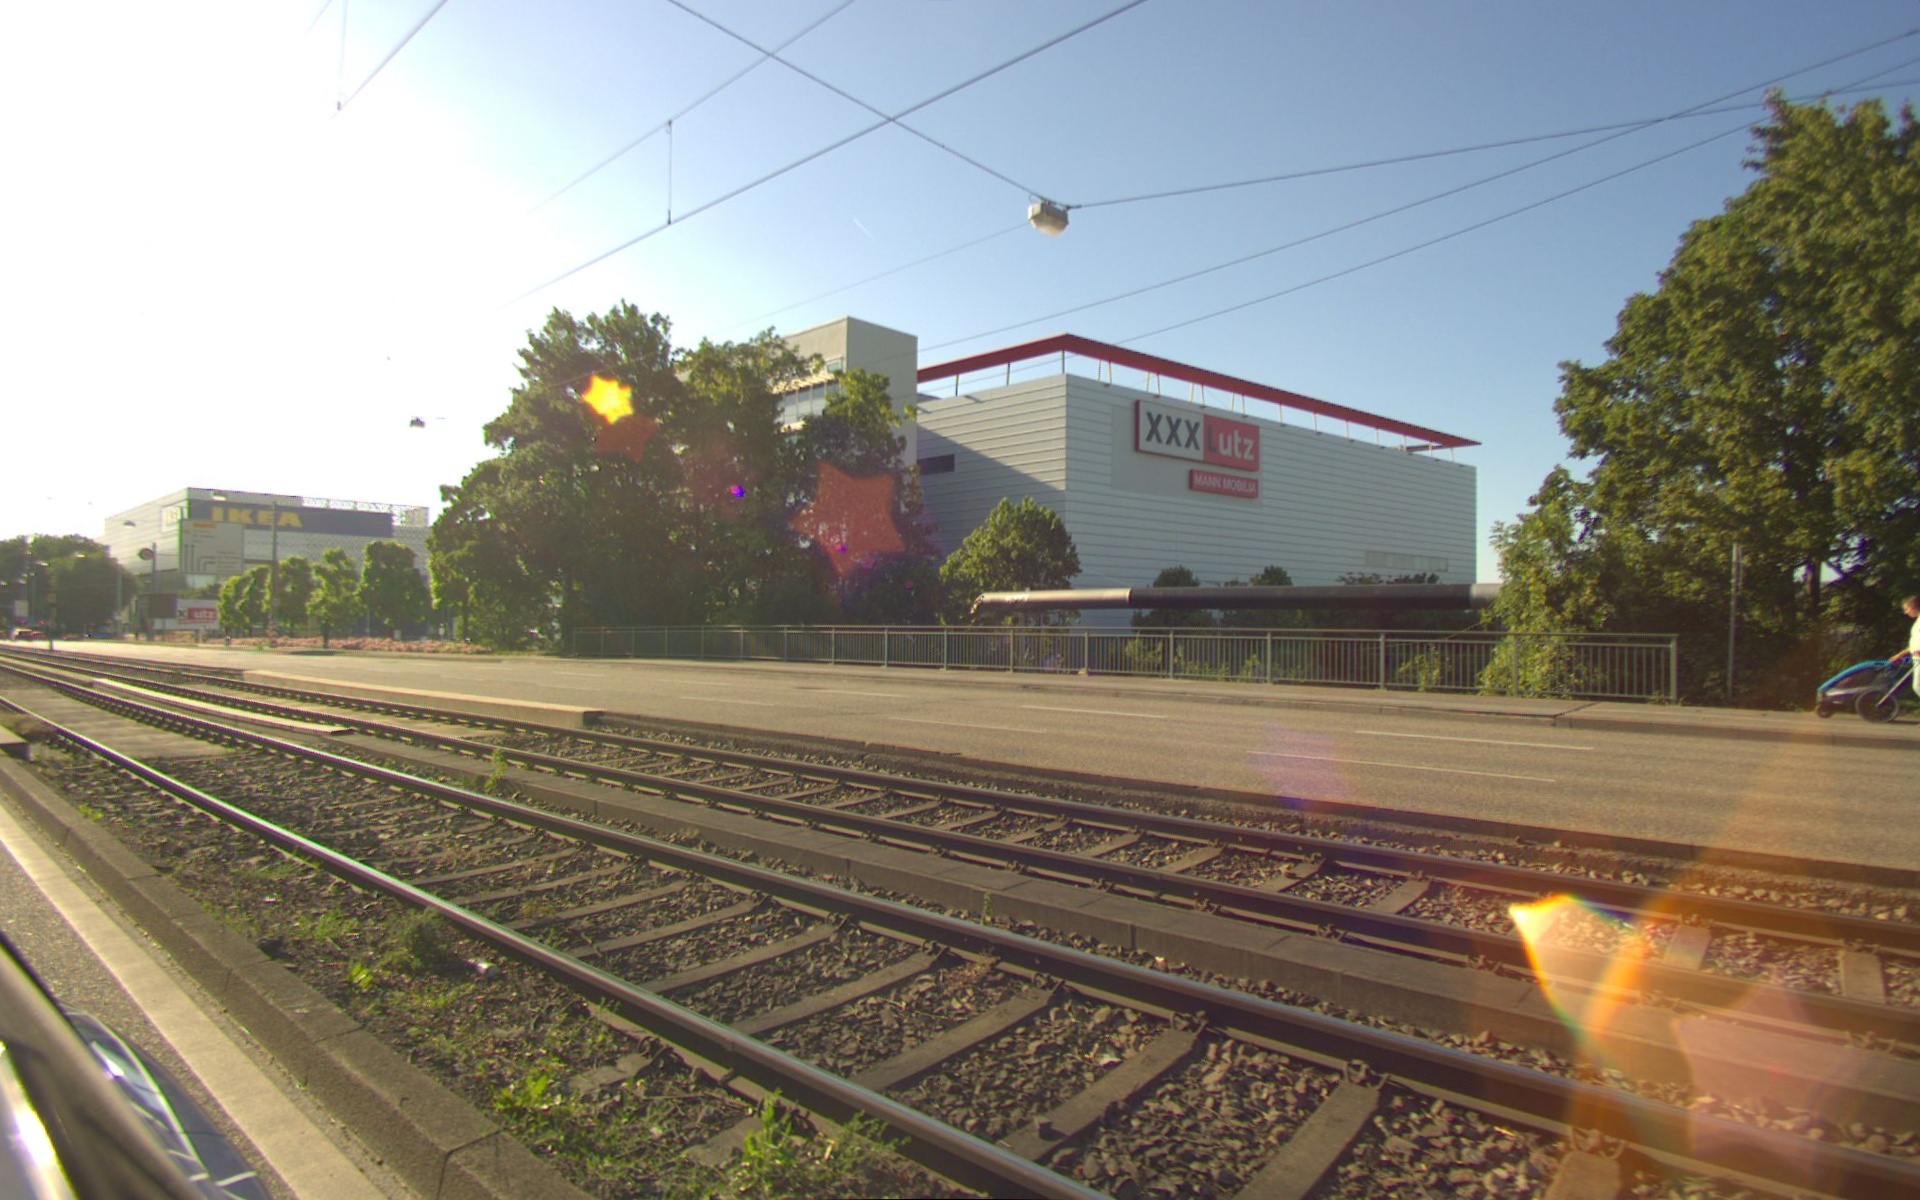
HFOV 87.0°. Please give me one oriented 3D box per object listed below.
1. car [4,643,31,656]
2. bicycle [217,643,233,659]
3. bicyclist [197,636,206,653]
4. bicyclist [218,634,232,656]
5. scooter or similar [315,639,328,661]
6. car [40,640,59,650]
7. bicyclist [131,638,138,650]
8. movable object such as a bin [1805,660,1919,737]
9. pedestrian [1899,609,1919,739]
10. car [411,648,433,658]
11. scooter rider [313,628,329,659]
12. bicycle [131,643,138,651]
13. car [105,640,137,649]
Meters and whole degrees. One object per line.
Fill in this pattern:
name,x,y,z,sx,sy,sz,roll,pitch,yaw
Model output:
car,-115.908,6.075,124.444,4.886,1.515,2.017,-2,-3,42
bicycle,-52.324,3.646,72.067,0.696,1.081,2.030,-2,-1,-41
bicyclist,-76.659,4.497,102.271,0.595,1.671,0.964,-1,-1,-42
bicyclist,-52.323,3.234,72.064,0.696,1.524,0.971,-1,-1,-42
scooter or similar,-40.064,3.128,63.514,0.466,1.306,1.264,2,-3,-42
car,-139.567,6.925,155.177,1.910,1.488,4.138,4,-5,-40
bicyclist,-114.448,6.096,140.283,0.653,1.636,0.802,-2,-1,-39
movable object such as a bin,13.147,1.410,14.719,0.714,0.968,1.105,-2,1,-27
pedestrian,13.573,1.013,13.855,0.714,1.769,0.838,-1,1,-27
car,-106.144,10.553,199.811,4.210,1.813,1.809,-2,-1,28
scooter rider,-40.071,2.724,63.427,0.674,1.862,1.002,2,-3,-41
bicycle,-114.328,6.488,140.146,0.653,1.159,2.025,-2,-1,-39
car,-153.162,8.118,184.760,4.193,1.509,2.018,5,-5,-43
